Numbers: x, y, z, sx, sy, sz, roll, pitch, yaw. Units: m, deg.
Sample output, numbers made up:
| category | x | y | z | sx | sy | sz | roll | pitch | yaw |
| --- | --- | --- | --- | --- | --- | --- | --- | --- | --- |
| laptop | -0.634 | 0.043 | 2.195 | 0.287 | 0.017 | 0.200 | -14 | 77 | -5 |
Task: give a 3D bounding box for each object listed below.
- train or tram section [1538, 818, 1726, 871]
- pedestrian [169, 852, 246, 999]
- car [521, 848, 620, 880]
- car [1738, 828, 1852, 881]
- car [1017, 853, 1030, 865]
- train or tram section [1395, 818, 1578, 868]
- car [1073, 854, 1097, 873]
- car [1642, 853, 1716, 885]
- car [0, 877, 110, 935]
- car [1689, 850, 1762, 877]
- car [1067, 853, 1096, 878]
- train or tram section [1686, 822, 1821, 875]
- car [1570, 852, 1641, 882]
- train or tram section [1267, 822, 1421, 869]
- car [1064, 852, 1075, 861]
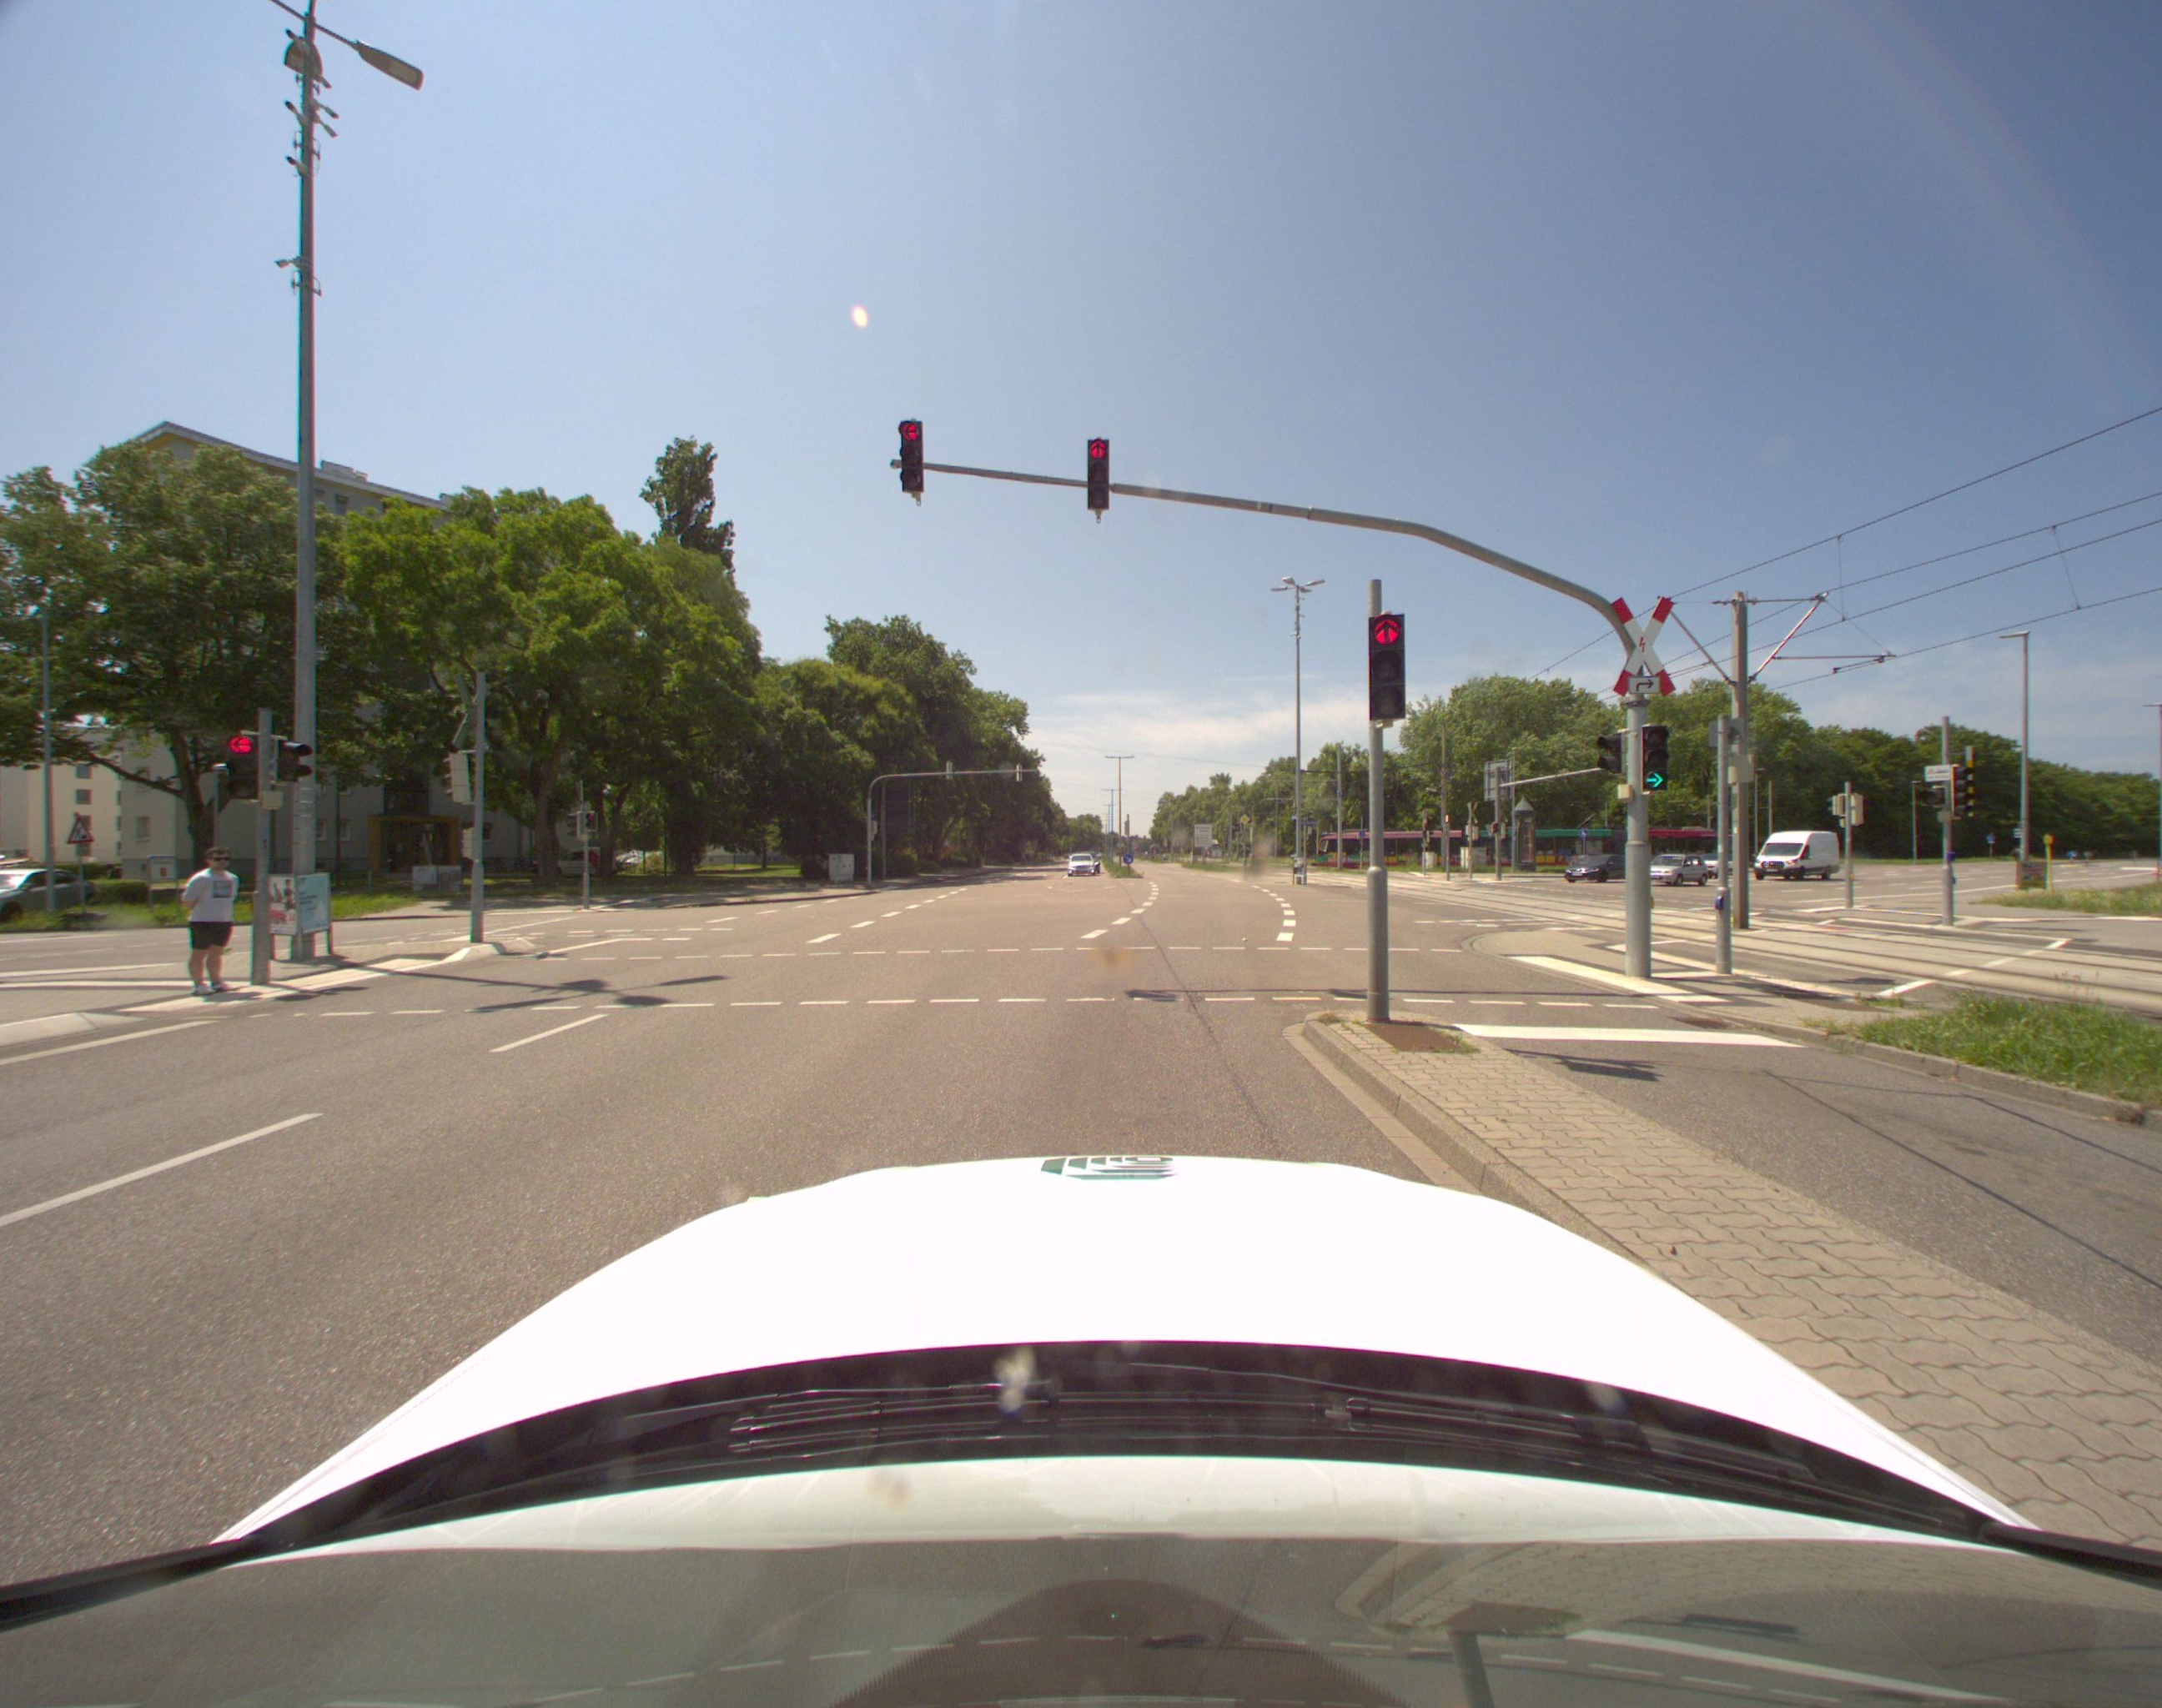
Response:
| category | x | y | z | sx | sy | sz | roll | pitch | yaw |
| --- | --- | --- | --- | --- | --- | --- | --- | --- | --- |
| train or tram section | 44.812 | -0.733 | 66.393 | 13.973 | 3.920 | 2.918 | 1 | -3 | -5 |
| pedestrian | -10.322 | 0.824 | 9.633 | 0.381 | 1.687 | 0.485 | 0 | 0 | -2 |
| car | -29.656 | 0.560 | 47.390 | 1.769 | 1.768 | 4.577 | 0 | 0 | 41 |
| car | 40.273 | 0.012 | 45.859 | 7.306 | 2.802 | 2.691 | 0 | 0 | -31 |
| car | -10.228 | 0.845 | 145.193 | 1.988 | 2.014 | 3.997 | 3 | -1 | -2 |
| train or tram section | 33.182 | -0.785 | 67.511 | 13.297 | 3.812 | 2.938 | 0 | -3 | 21 |
| car | 0.344 | 0.703 | 61.790 | 1.704 | 1.365 | 3.867 | 0 | 0 | 2 |
| car | 28.272 | 0.675 | 38.478 | 3.821 | 1.463 | 1.623 | 0 | 0 | -34 |
| car | -29.151 | 1.386 | 22.213 | 1.629 | 1.380 | 3.973 | 1 | 0 | -20 |
| car | 37.674 | 0.534 | 47.582 | 4.502 | 1.463 | 1.626 | 0 | 0 | -26 |
| car | 0.079 | 0.723 | 54.395 | 1.778 | 1.628 | 3.867 | 0 | 0 | 2 |
| train or tram section | 57.768 | -0.376 | 69.808 | 13.980 | 3.920 | 2.900 | 2 | -3 | -24 |
| car | 26.734 | 0.624 | 41.518 | 3.519 | 1.463 | 1.624 | 0 | 0 | -30 |
| train or tram section | 23.434 | -0.626 | 73.354 | 12.905 | 3.812 | 2.941 | -1 | -4 | 37 |
| car | -2.051 | 0.469 | 147.117 | 1.665 | 1.490 | 3.712 | 0 | 0 | 2 |
